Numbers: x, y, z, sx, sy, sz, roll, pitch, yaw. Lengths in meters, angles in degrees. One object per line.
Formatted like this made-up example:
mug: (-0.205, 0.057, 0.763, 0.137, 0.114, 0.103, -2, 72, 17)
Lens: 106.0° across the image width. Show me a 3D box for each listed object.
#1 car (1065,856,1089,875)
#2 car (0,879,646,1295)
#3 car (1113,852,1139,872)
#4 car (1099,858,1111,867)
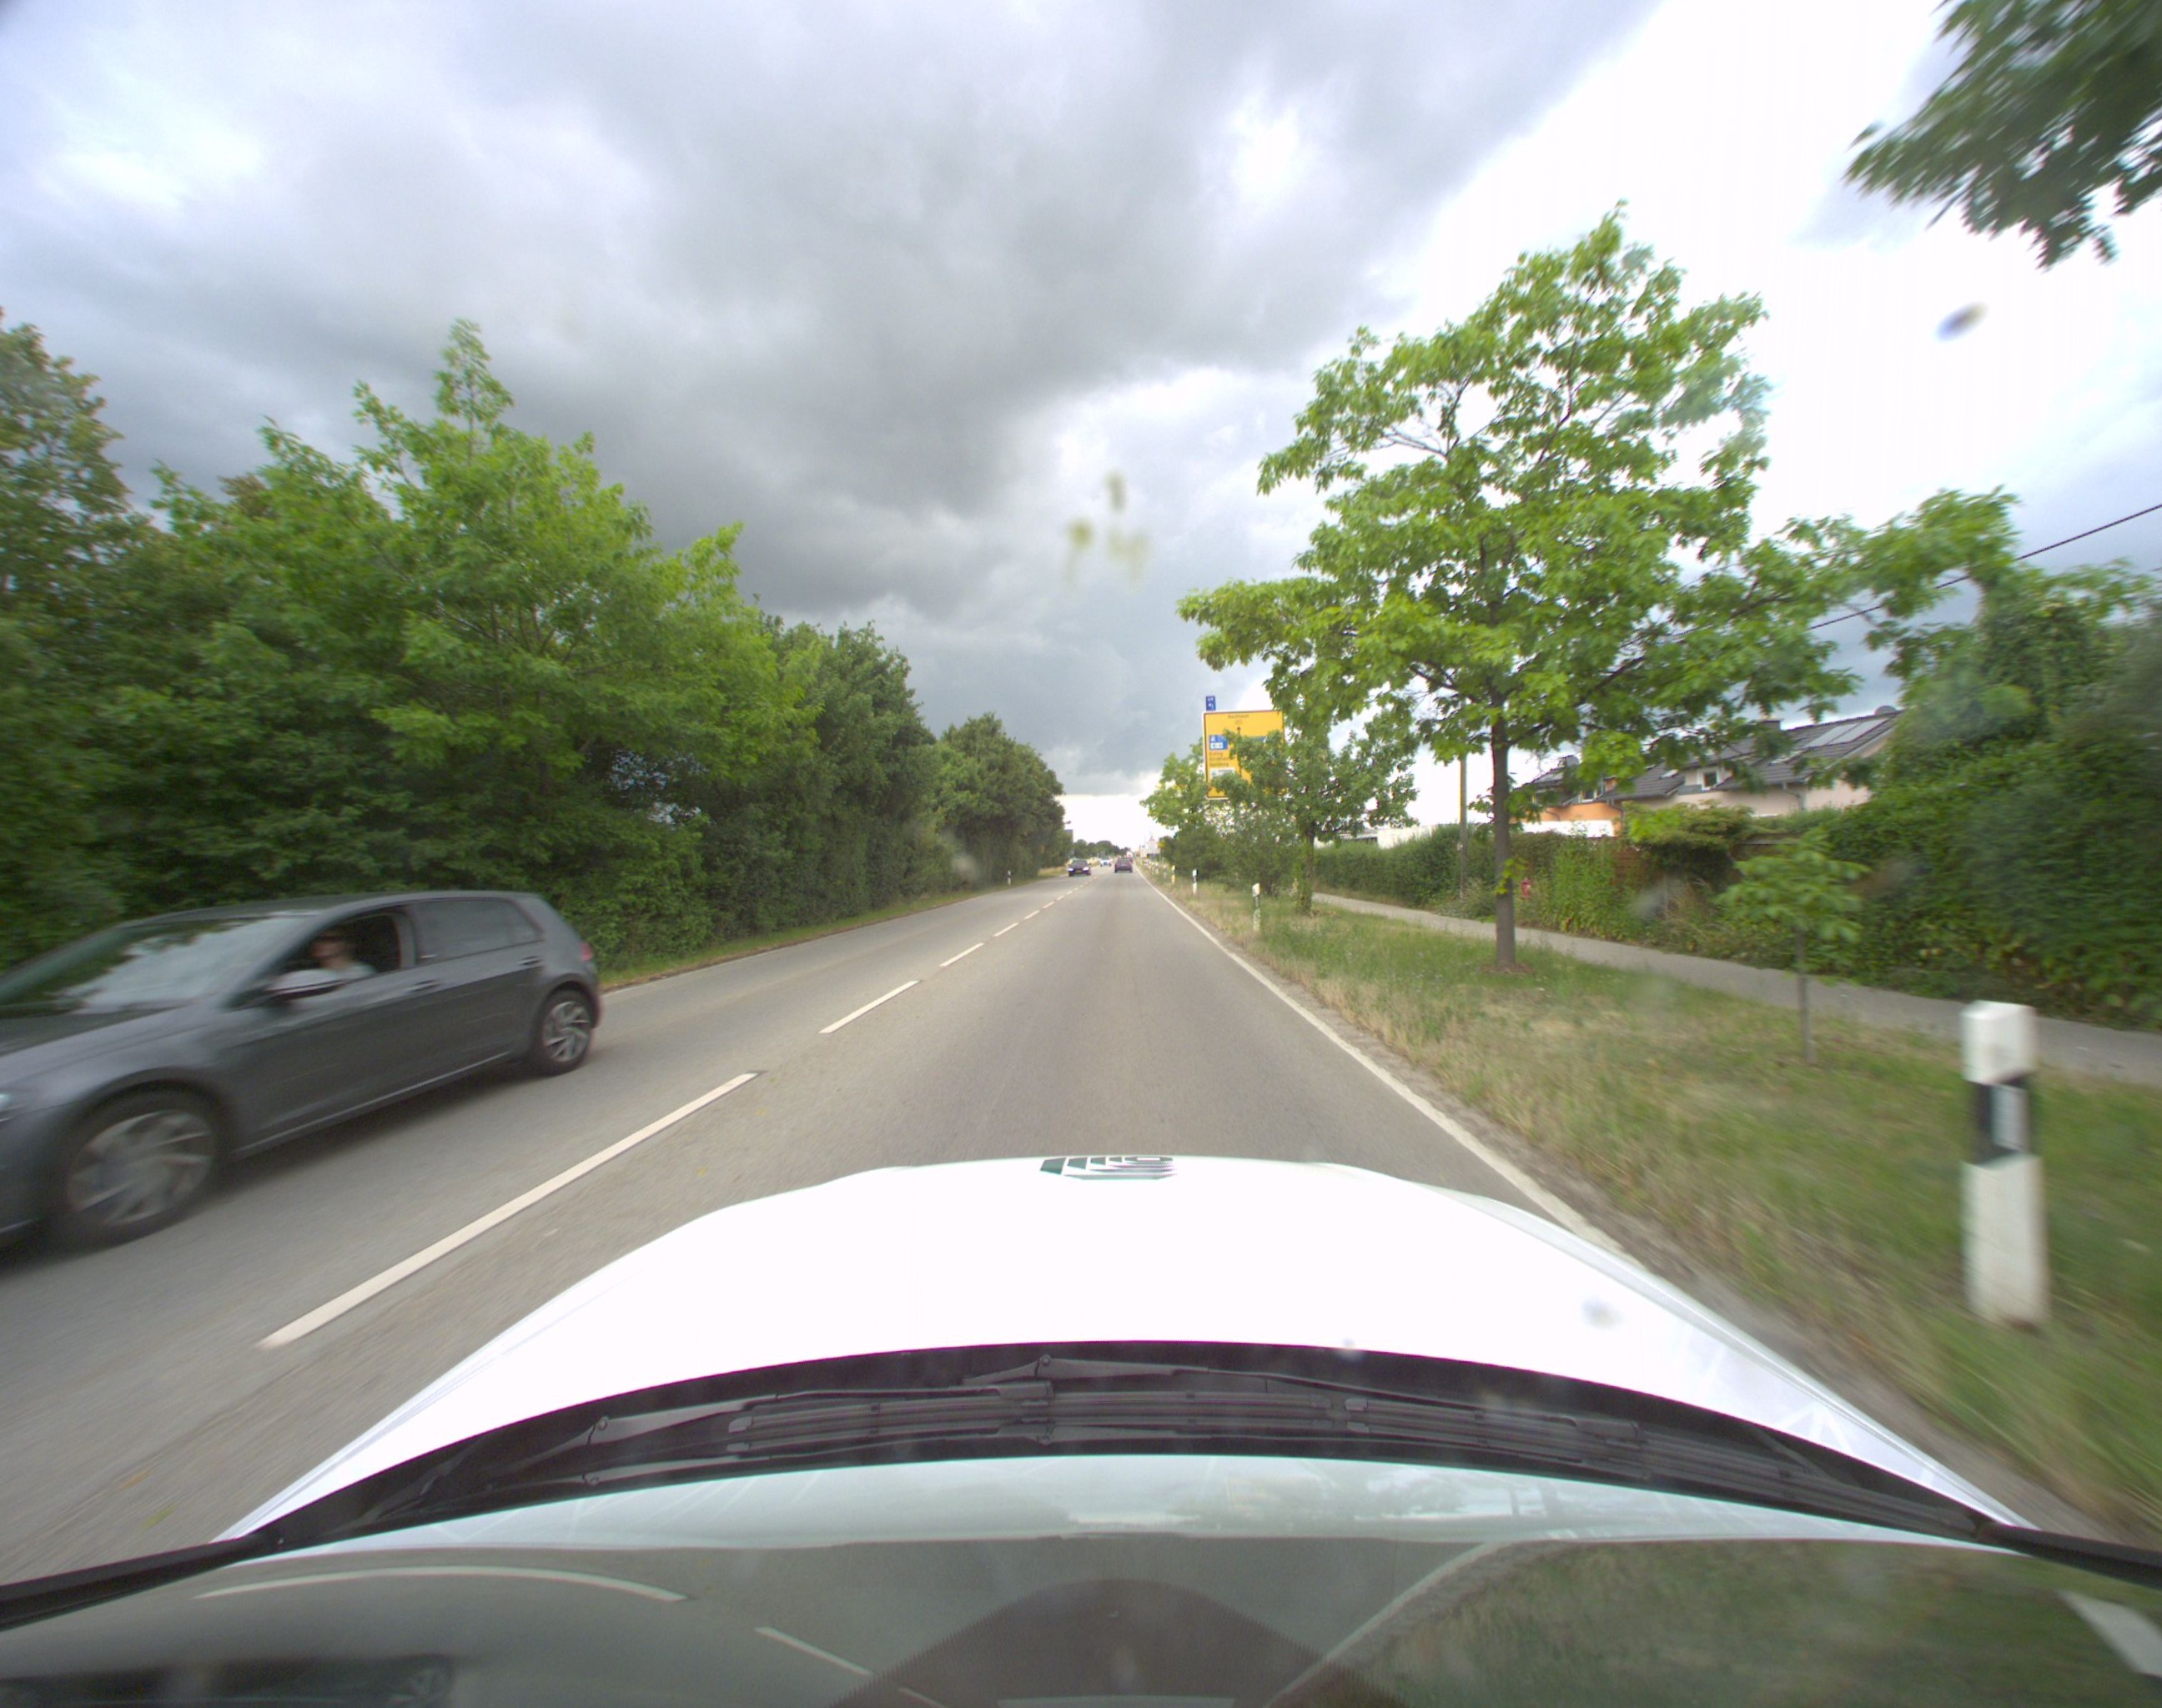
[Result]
car: (-0.317, 1.038, 74.520, 1.933, 1.586, 4.556, -4, -1, 1)
car: (-4.919, 0.974, 4.946, 1.986, 1.419, 4.478, -4, -1, 1)
car: (4.584, 0.790, 84.016, 2.363, 1.880, 4.478, -4, -1, 1)
car: (4.511, 1.565, 151.172, 1.985, 1.684, 4.814, -3, 0, 3)
